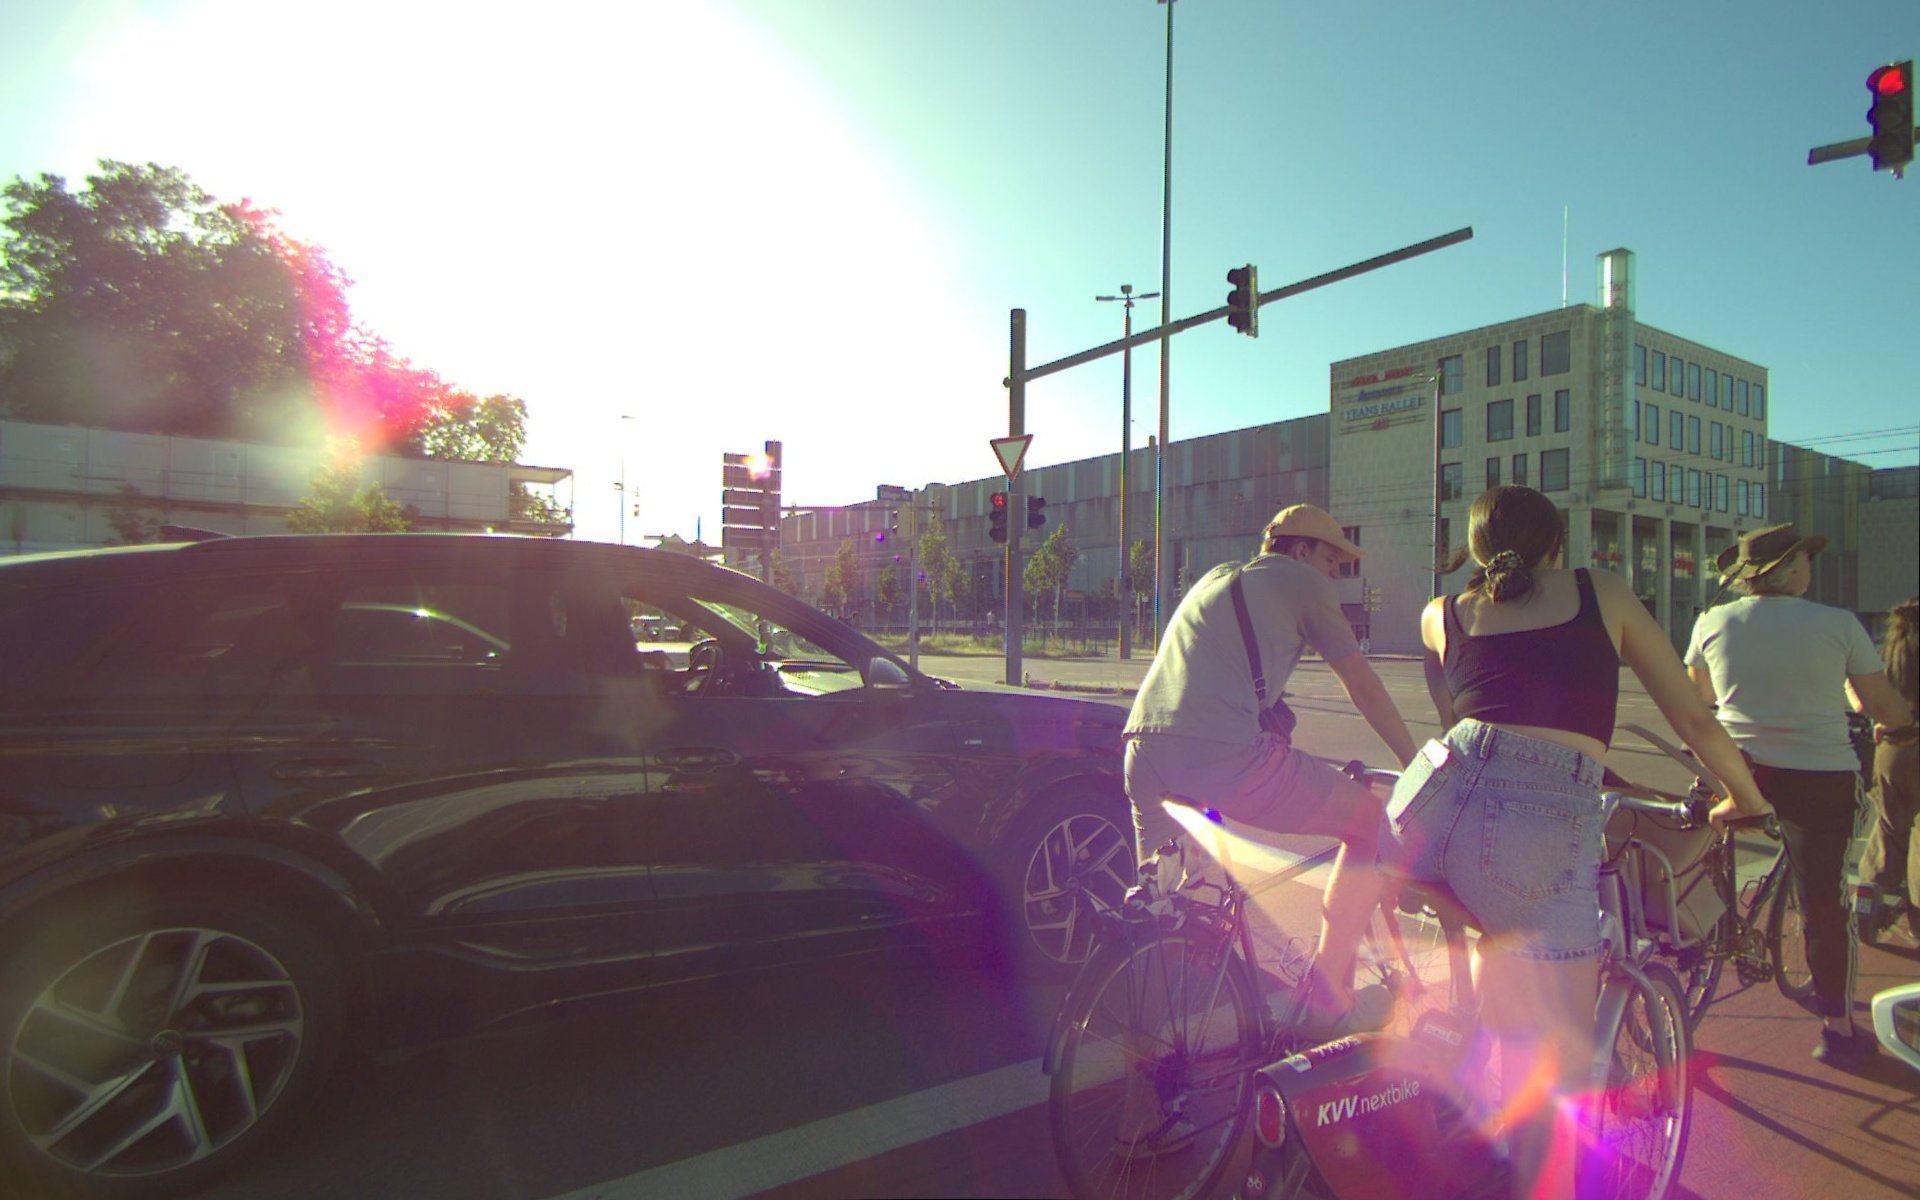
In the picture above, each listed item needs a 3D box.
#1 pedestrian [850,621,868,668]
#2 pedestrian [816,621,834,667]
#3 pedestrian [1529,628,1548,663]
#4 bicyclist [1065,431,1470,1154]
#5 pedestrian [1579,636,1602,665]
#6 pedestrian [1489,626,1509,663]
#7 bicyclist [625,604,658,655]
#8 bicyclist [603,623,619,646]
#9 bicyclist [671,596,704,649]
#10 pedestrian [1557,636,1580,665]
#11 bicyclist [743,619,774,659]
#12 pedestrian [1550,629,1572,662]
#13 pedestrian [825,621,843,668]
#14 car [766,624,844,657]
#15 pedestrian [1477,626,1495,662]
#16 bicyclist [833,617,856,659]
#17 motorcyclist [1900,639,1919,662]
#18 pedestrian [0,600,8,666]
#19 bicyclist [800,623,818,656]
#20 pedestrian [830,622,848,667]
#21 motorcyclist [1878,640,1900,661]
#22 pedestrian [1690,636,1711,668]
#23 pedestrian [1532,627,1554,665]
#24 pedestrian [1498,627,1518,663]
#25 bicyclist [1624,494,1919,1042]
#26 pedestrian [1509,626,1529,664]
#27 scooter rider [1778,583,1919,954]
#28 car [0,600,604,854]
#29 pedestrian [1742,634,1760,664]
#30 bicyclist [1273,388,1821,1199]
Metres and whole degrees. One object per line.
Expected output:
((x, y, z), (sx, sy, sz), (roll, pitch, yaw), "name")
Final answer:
((-3.510, 1.543, 34.997), (0.446, 1.587, 0.516), (1, -1, -30), "pedestrian")
((-4.647, 1.508, 34.667), (0.446, 1.587, 0.516), (1, -1, -30), "pedestrian")
((34.516, 2.707, 59.941), (0.900, 2.040, 1.022), (0, -1, 29), "pedestrian")
((0.829, 0.436, 2.722), (0.884, 1.596, 0.620), (1, -1, -31), "bicyclist")
((35.392, 2.834, 56.418), (0.927, 1.592, 0.841), (1, -1, 21), "pedestrian")
((32.142, 2.628, 59.908), (0.885, 2.152, 0.942), (0, -1, 42), "pedestrian")
((-9.070, 0.842, 28.638), (0.828, 1.420, 0.803), (0, 0, -13), "bicyclist")
((-20.862, 2.064, 59.993), (0.795, 1.315, 0.771), (0, 0, -28), "bicyclist")
((-8.146, 0.665, 30.053), (0.926, 1.565, 0.647), (0, -1, -17), "bicyclist")
((35.375, 2.917, 58.389), (0.988, 1.672, 0.948), (1, -1, 21), "pedestrian")
((-7.044, 1.337, 35.064), (0.833, 1.375, 0.797), (0, 0, -36), "bicyclist")
((37.430, 2.808, 62.516), (1.016, 2.040, 0.906), (2, -1, -42), "pedestrian")
((-4.302, 1.516, 34.199), (0.446, 1.587, 0.516), (1, -1, -30), "pedestrian")
((-7.029, 1.781, 45.221), (1.980, 1.394, 3.962), (0, -1, -34), "car")
((32.319, 2.682, 61.664), (0.883, 2.152, 0.944), (0, -1, 34), "pedestrian")
((-4.230, 1.376, 36.766), (0.609, 1.525, 0.752), (1, -1, -23), "bicyclist")
((70.723, 3.738, 74.635), (0.908, 1.596, 1.129), (2, 0, -37), "motorcyclist")
((-25.025, 0.843, 25.781), (0.646, 1.702, 0.834), (1, -1, -30), "pedestrian")
((-5.954, 1.543, 39.535), (0.627, 1.287, 0.803), (0, 0, -14), "bicyclist")
((-4.304, 1.565, 35.701), (0.446, 1.587, 0.516), (1, -1, -30), "pedestrian")
((67.622, 3.664, 73.132), (0.908, 1.490, 1.029), (2, 0, -37), "motorcyclist")
((40.880, 2.876, 55.443), (0.748, 1.763, 0.746), (1, -1, -32), "pedestrian")
((33.799, 2.637, 58.241), (1.044, 2.157, 1.096), (0, -1, 29), "pedestrian")
((33.245, 2.706, 60.910), (0.885, 2.152, 0.943), (0, -1, 39), "pedestrian")
((2.957, 0.530, 3.609), (0.777, 1.691, 0.695), (1, -1, -32), "bicyclist")
((32.525, 2.610, 58.464), (0.881, 2.152, 0.946), (0, -1, 24), "pedestrian")
((4.435, 0.722, 4.690), (1.105, 1.564, 0.638), (1, 0, -33), "scooter rider")
((-4.890, 0.721, 6.709), (4.475, 1.370, 1.762), (2, -1, -32), "car")
((55.524, 3.427, 70.482), (0.933, 2.008, 1.004), (0, -1, 36), "pedestrian")
((1.185, 0.463, 2.058), (0.837, 1.563, 0.647), (1, -1, -31), "bicyclist")
